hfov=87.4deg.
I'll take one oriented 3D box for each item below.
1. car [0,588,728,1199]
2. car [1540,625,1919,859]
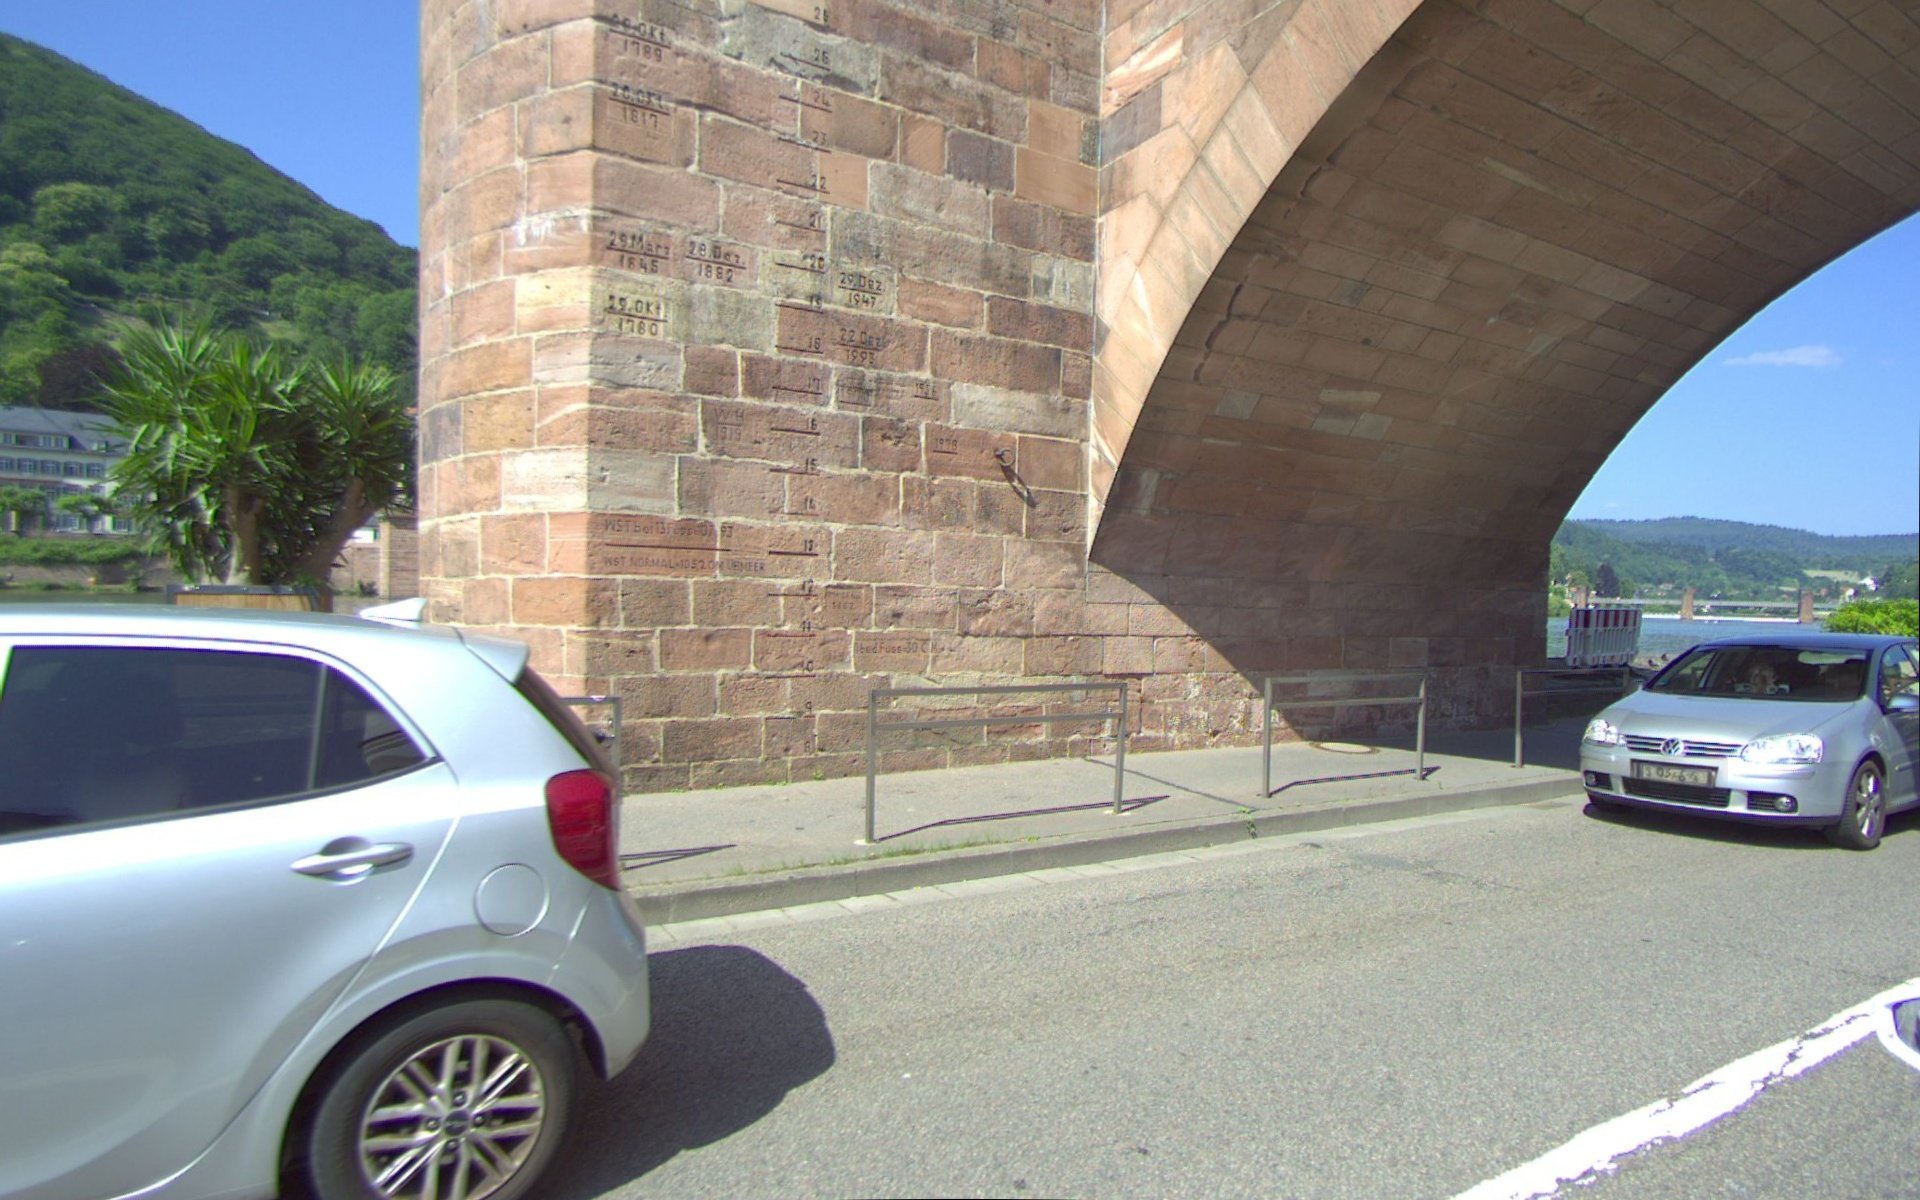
[{"bbox_3d":[-2.577,0.710,2.331,3.685,1.455,1.527,2,-2,-31],"label":"car"},{"bbox_3d":[6.768,0.955,8.184,4.351,1.455,1.714,1,-2,-32],"label":"car"}]
